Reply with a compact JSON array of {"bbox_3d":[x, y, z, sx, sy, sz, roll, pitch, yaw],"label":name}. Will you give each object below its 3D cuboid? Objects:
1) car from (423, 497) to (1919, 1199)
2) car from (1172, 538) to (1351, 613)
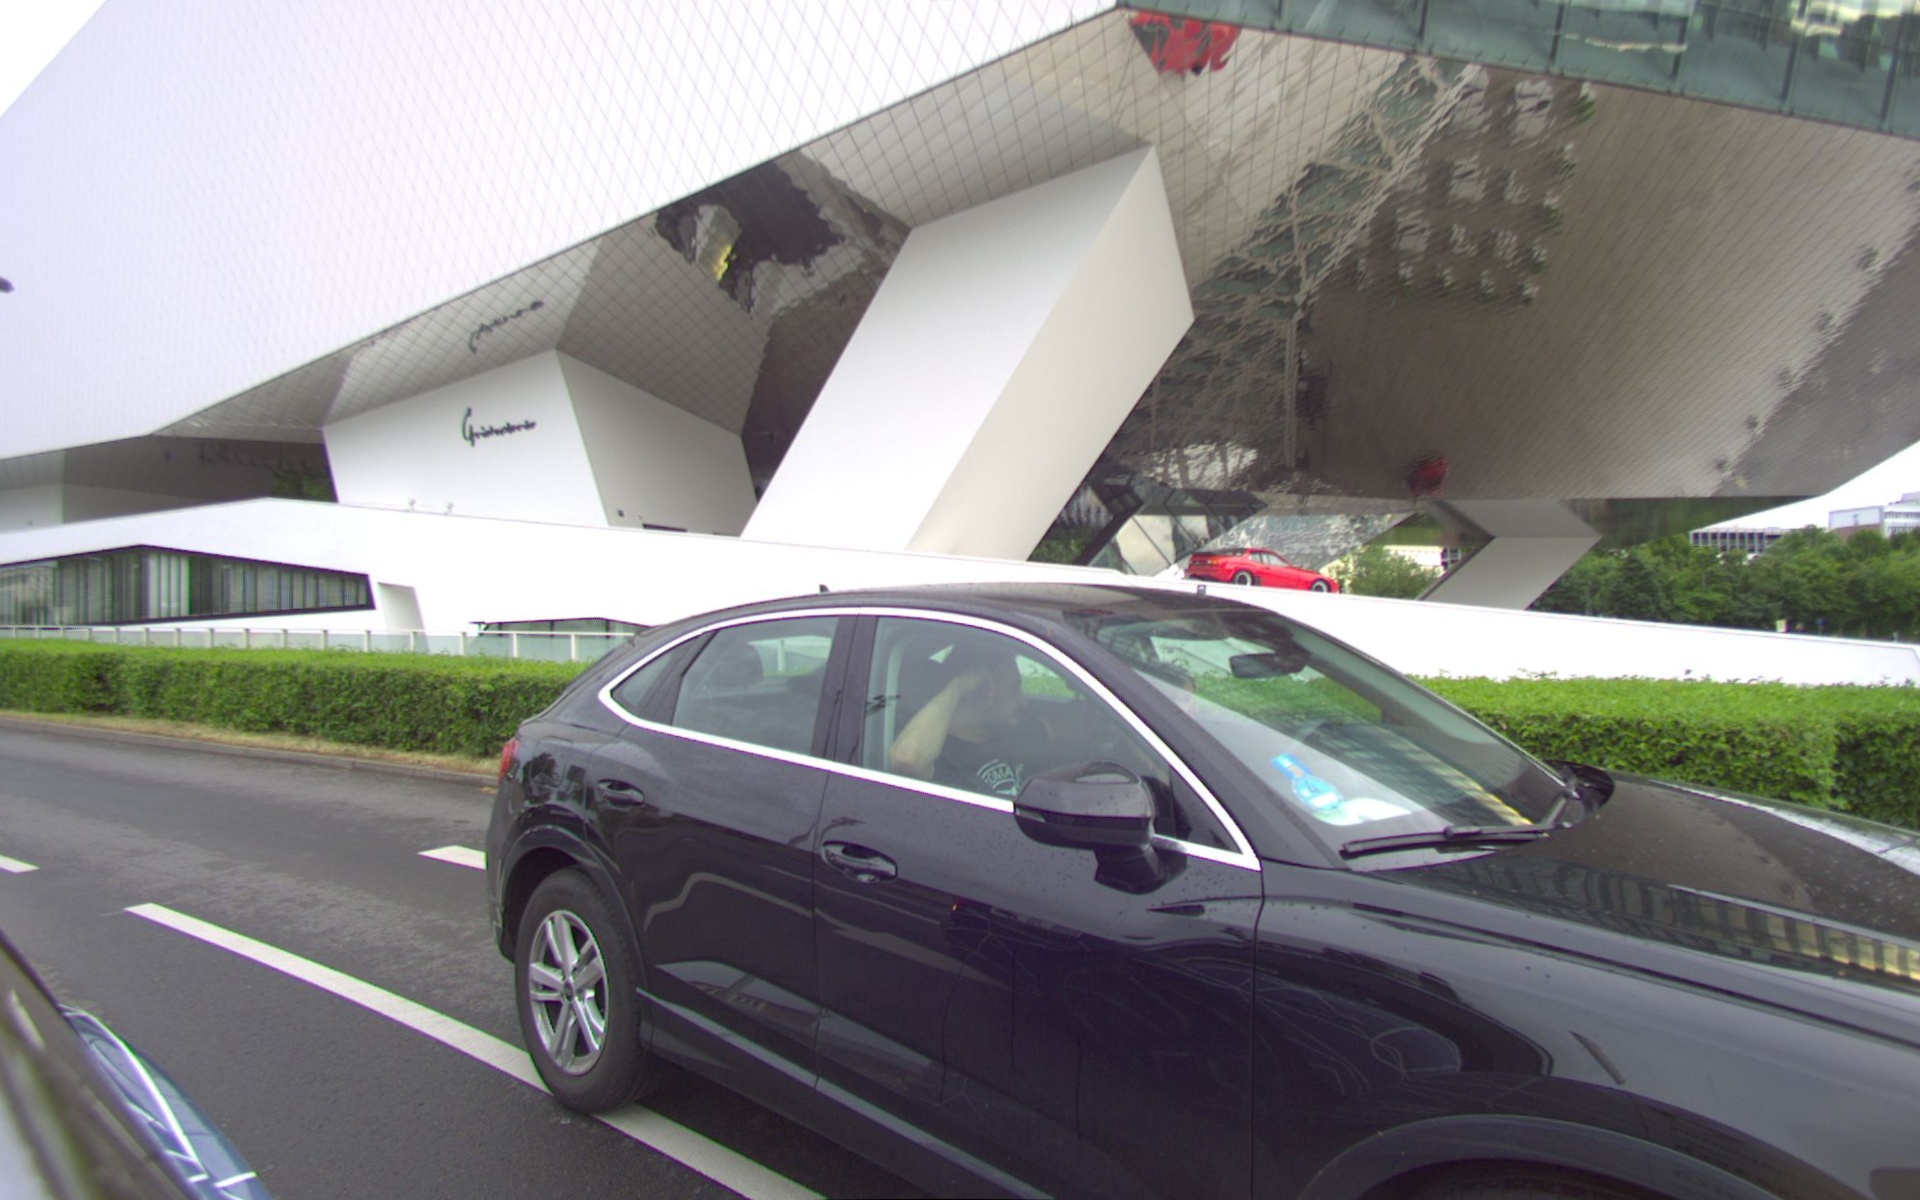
[{"bbox_3d":[0.389,0.676,2.678,4.392,1.529,1.734,-1,0,41],"label":"car"},{"bbox_3d":[8.211,-0.614,27.699,4.175,1.395,2.006,7,-4,-16],"label":"car"}]
